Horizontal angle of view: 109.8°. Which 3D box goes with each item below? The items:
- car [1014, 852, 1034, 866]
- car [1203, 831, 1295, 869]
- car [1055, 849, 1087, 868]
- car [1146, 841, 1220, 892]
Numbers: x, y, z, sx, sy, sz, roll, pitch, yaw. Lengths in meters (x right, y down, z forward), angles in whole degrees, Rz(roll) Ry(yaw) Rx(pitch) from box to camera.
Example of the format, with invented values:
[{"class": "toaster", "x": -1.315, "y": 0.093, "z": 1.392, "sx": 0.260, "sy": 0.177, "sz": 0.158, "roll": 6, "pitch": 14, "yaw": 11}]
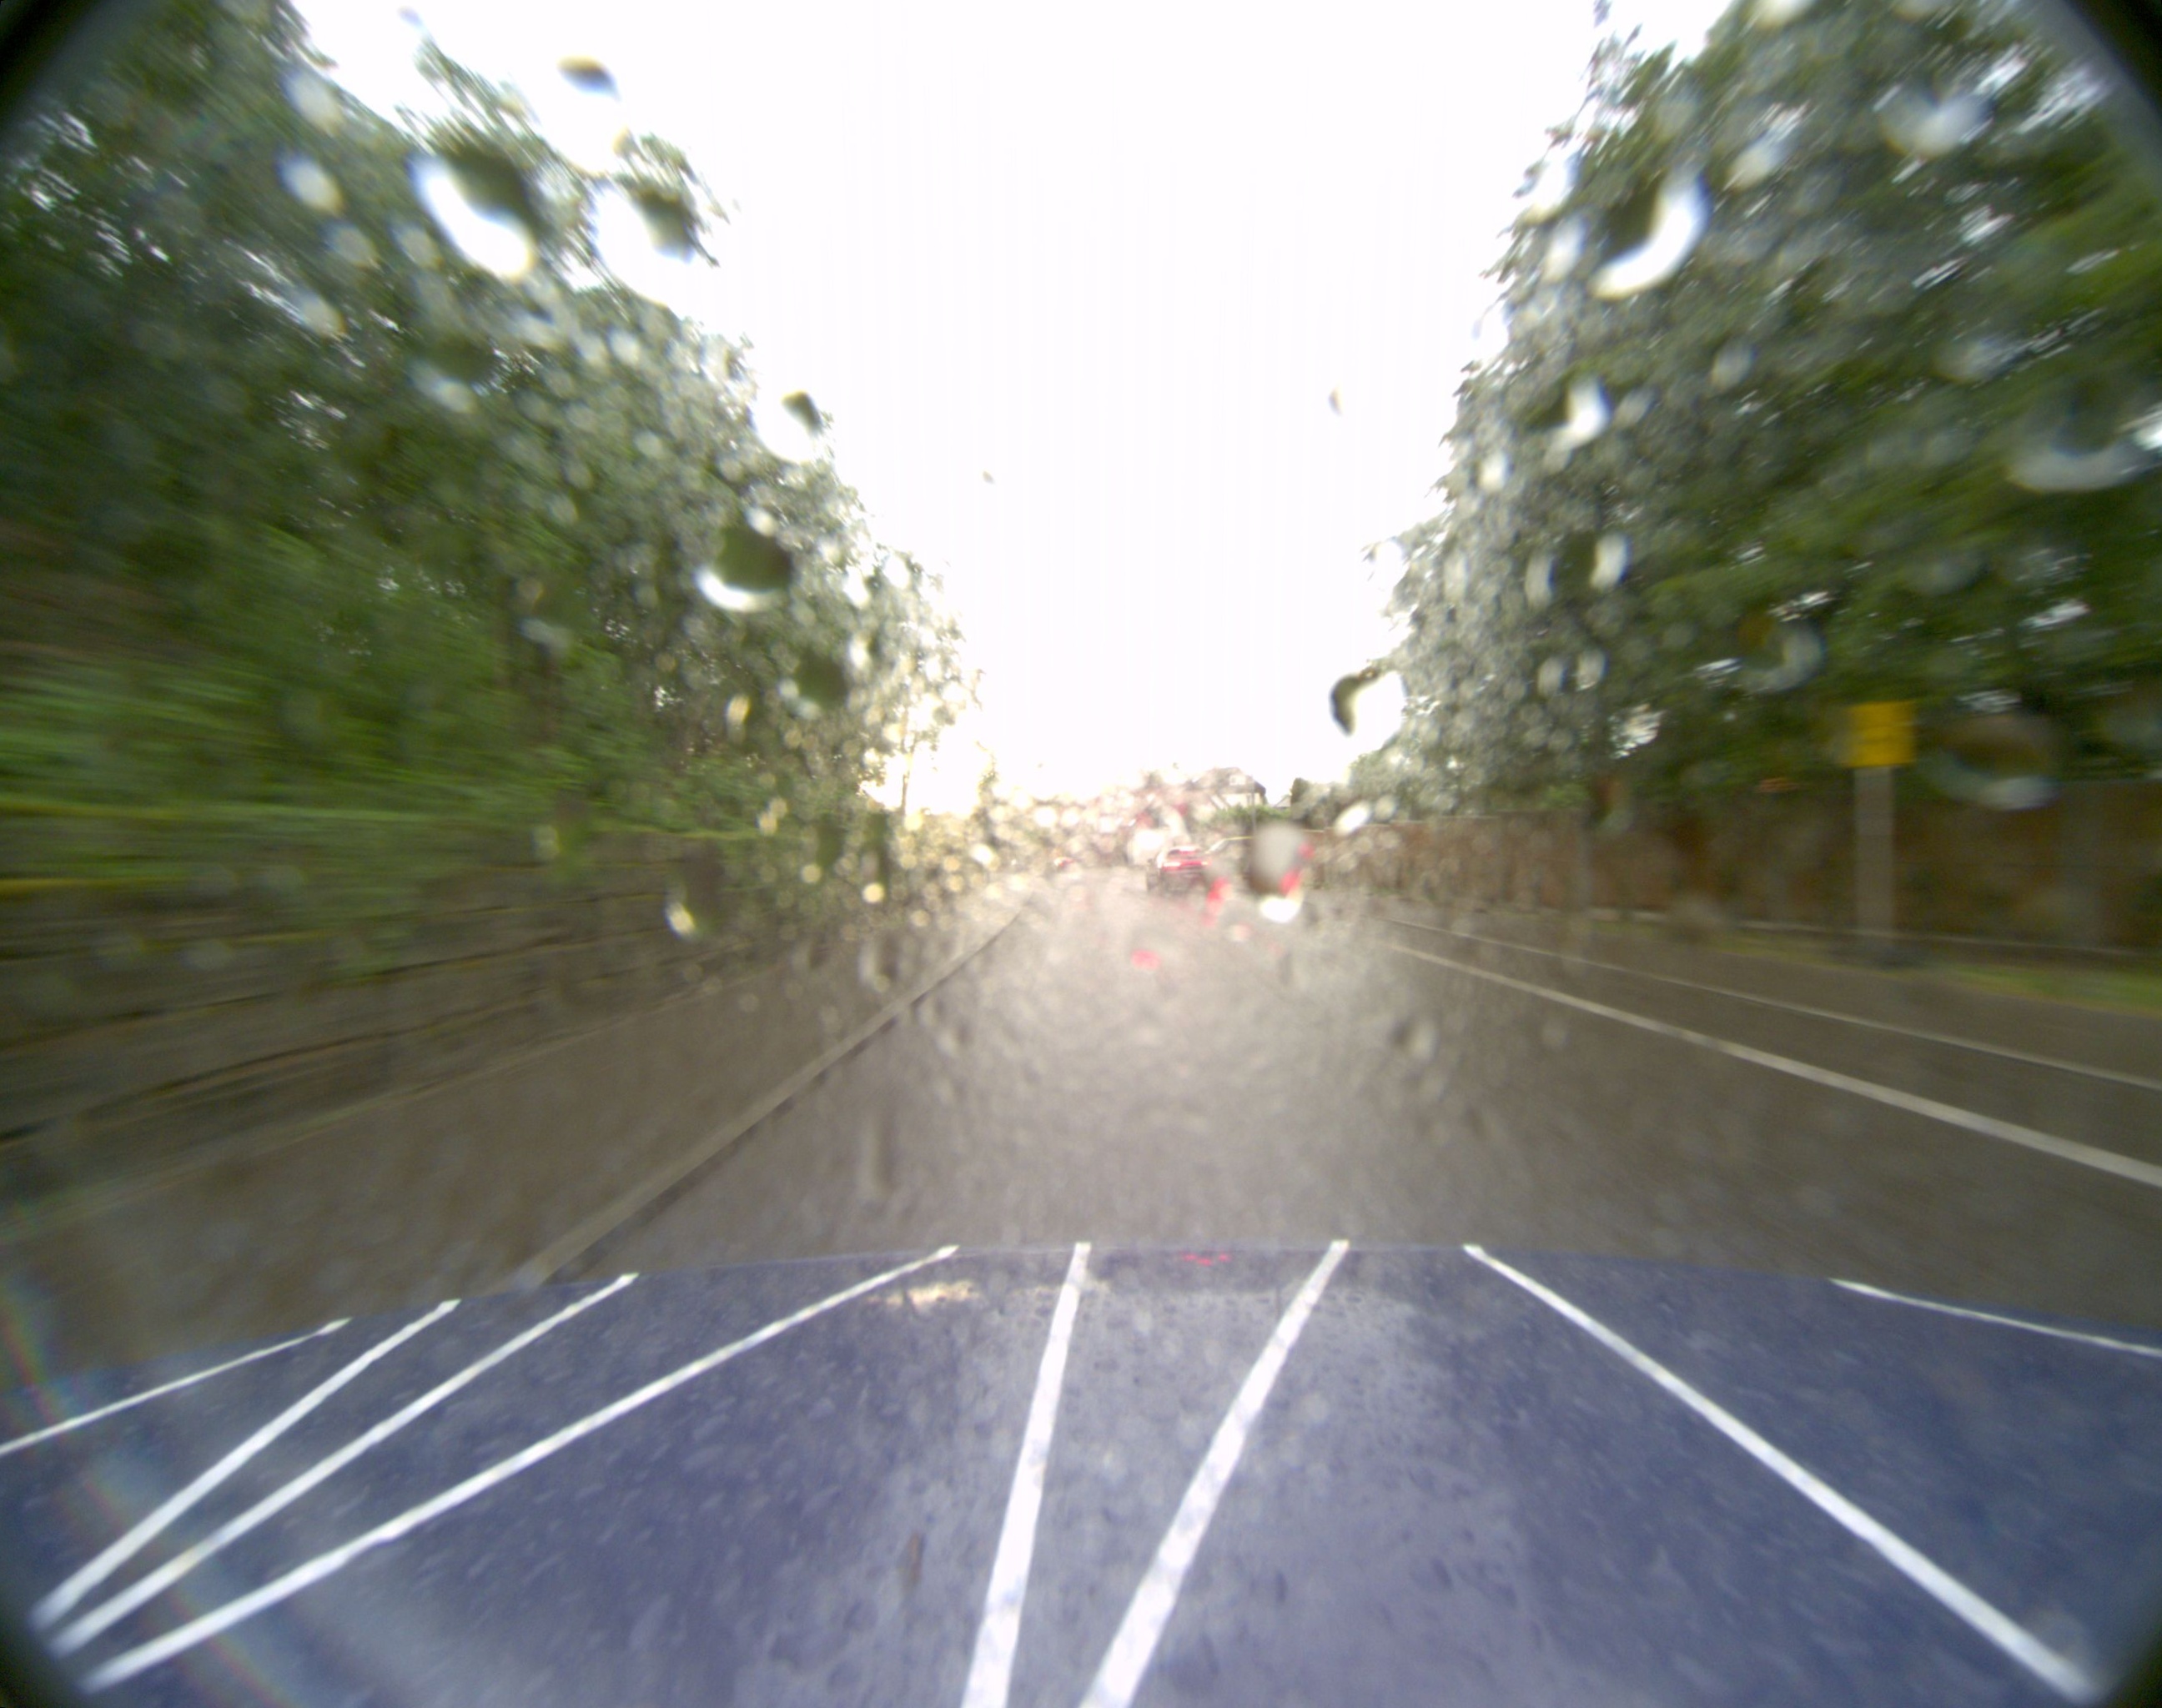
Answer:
[{"class": "car", "x": -7.041, "y": 0.591, "z": 93.520, "sx": 1.841, "sy": 1.503, "sz": 4.612, "roll": -3, "pitch": 1, "yaw": -13}, {"class": "car", "x": 9.203, "y": -0.236, "z": 41.981, "sx": 4.515, "sy": 1.849, "sz": 2.089, "roll": -3, "pitch": 0, "yaw": -2}, {"class": "car", "x": -0.891, "y": 0.389, "z": 65.566, "sx": 1.840, "sy": 1.503, "sz": 4.164, "roll": -3, "pitch": 1, "yaw": -12}, {"class": "car", "x": 3.652, "y": 0.403, "z": 28.017, "sx": 1.923, "sy": 1.638, "sz": 4.545, "roll": -2, "pitch": 1, "yaw": -2}]
